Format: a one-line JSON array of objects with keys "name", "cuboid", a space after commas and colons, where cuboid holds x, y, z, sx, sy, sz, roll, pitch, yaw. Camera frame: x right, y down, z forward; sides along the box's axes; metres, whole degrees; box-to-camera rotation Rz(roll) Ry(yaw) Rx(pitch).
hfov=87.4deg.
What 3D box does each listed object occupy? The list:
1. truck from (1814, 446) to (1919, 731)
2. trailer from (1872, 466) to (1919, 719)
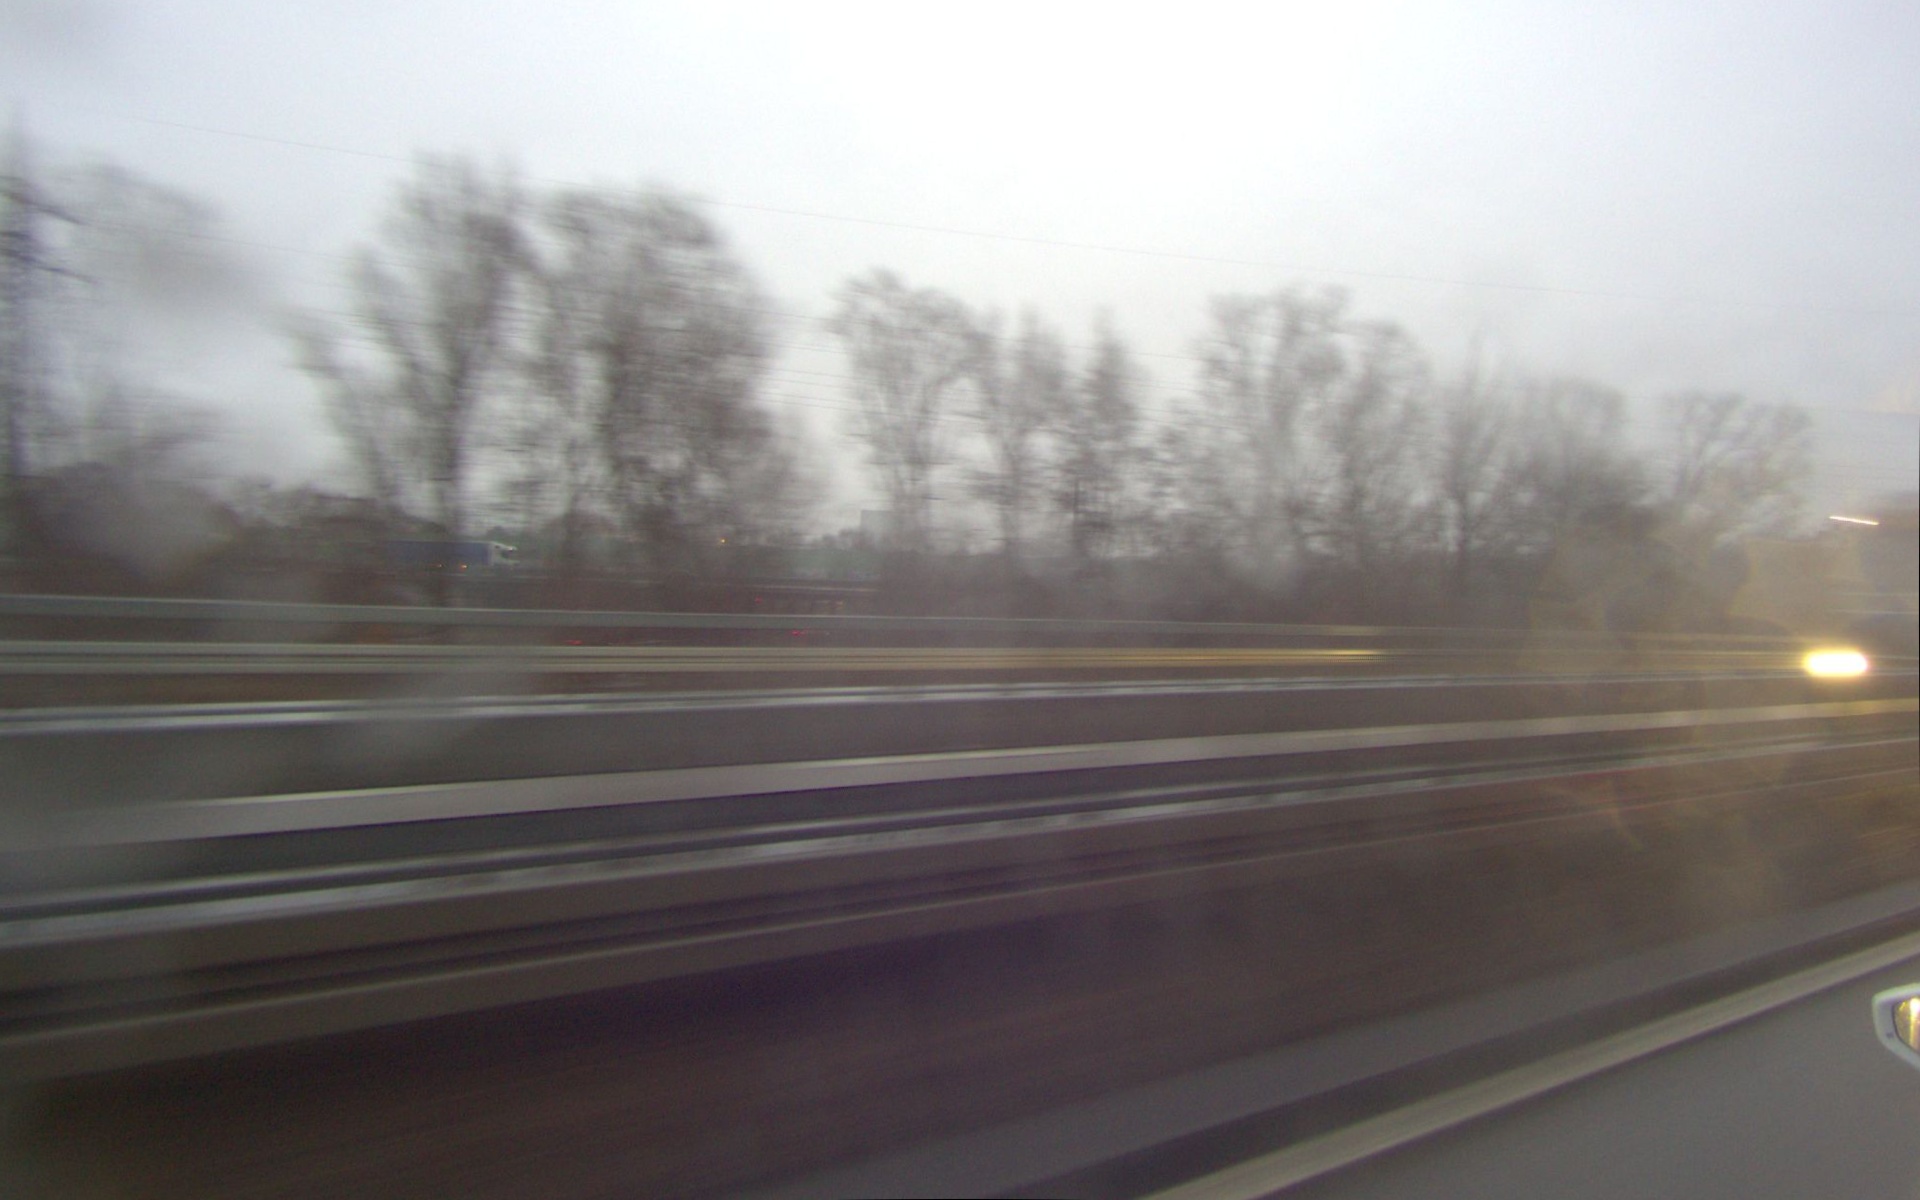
[{"name": "truck", "cuboid": [18.309, -0.126, 18.003, 6.282, 4.641, 2.583, 1, 0, -30]}, {"name": "trailer", "cuboid": [23.683, 0.121, 21.115, 13.167, 4.645, 2.616, 2, 0, -30]}]
